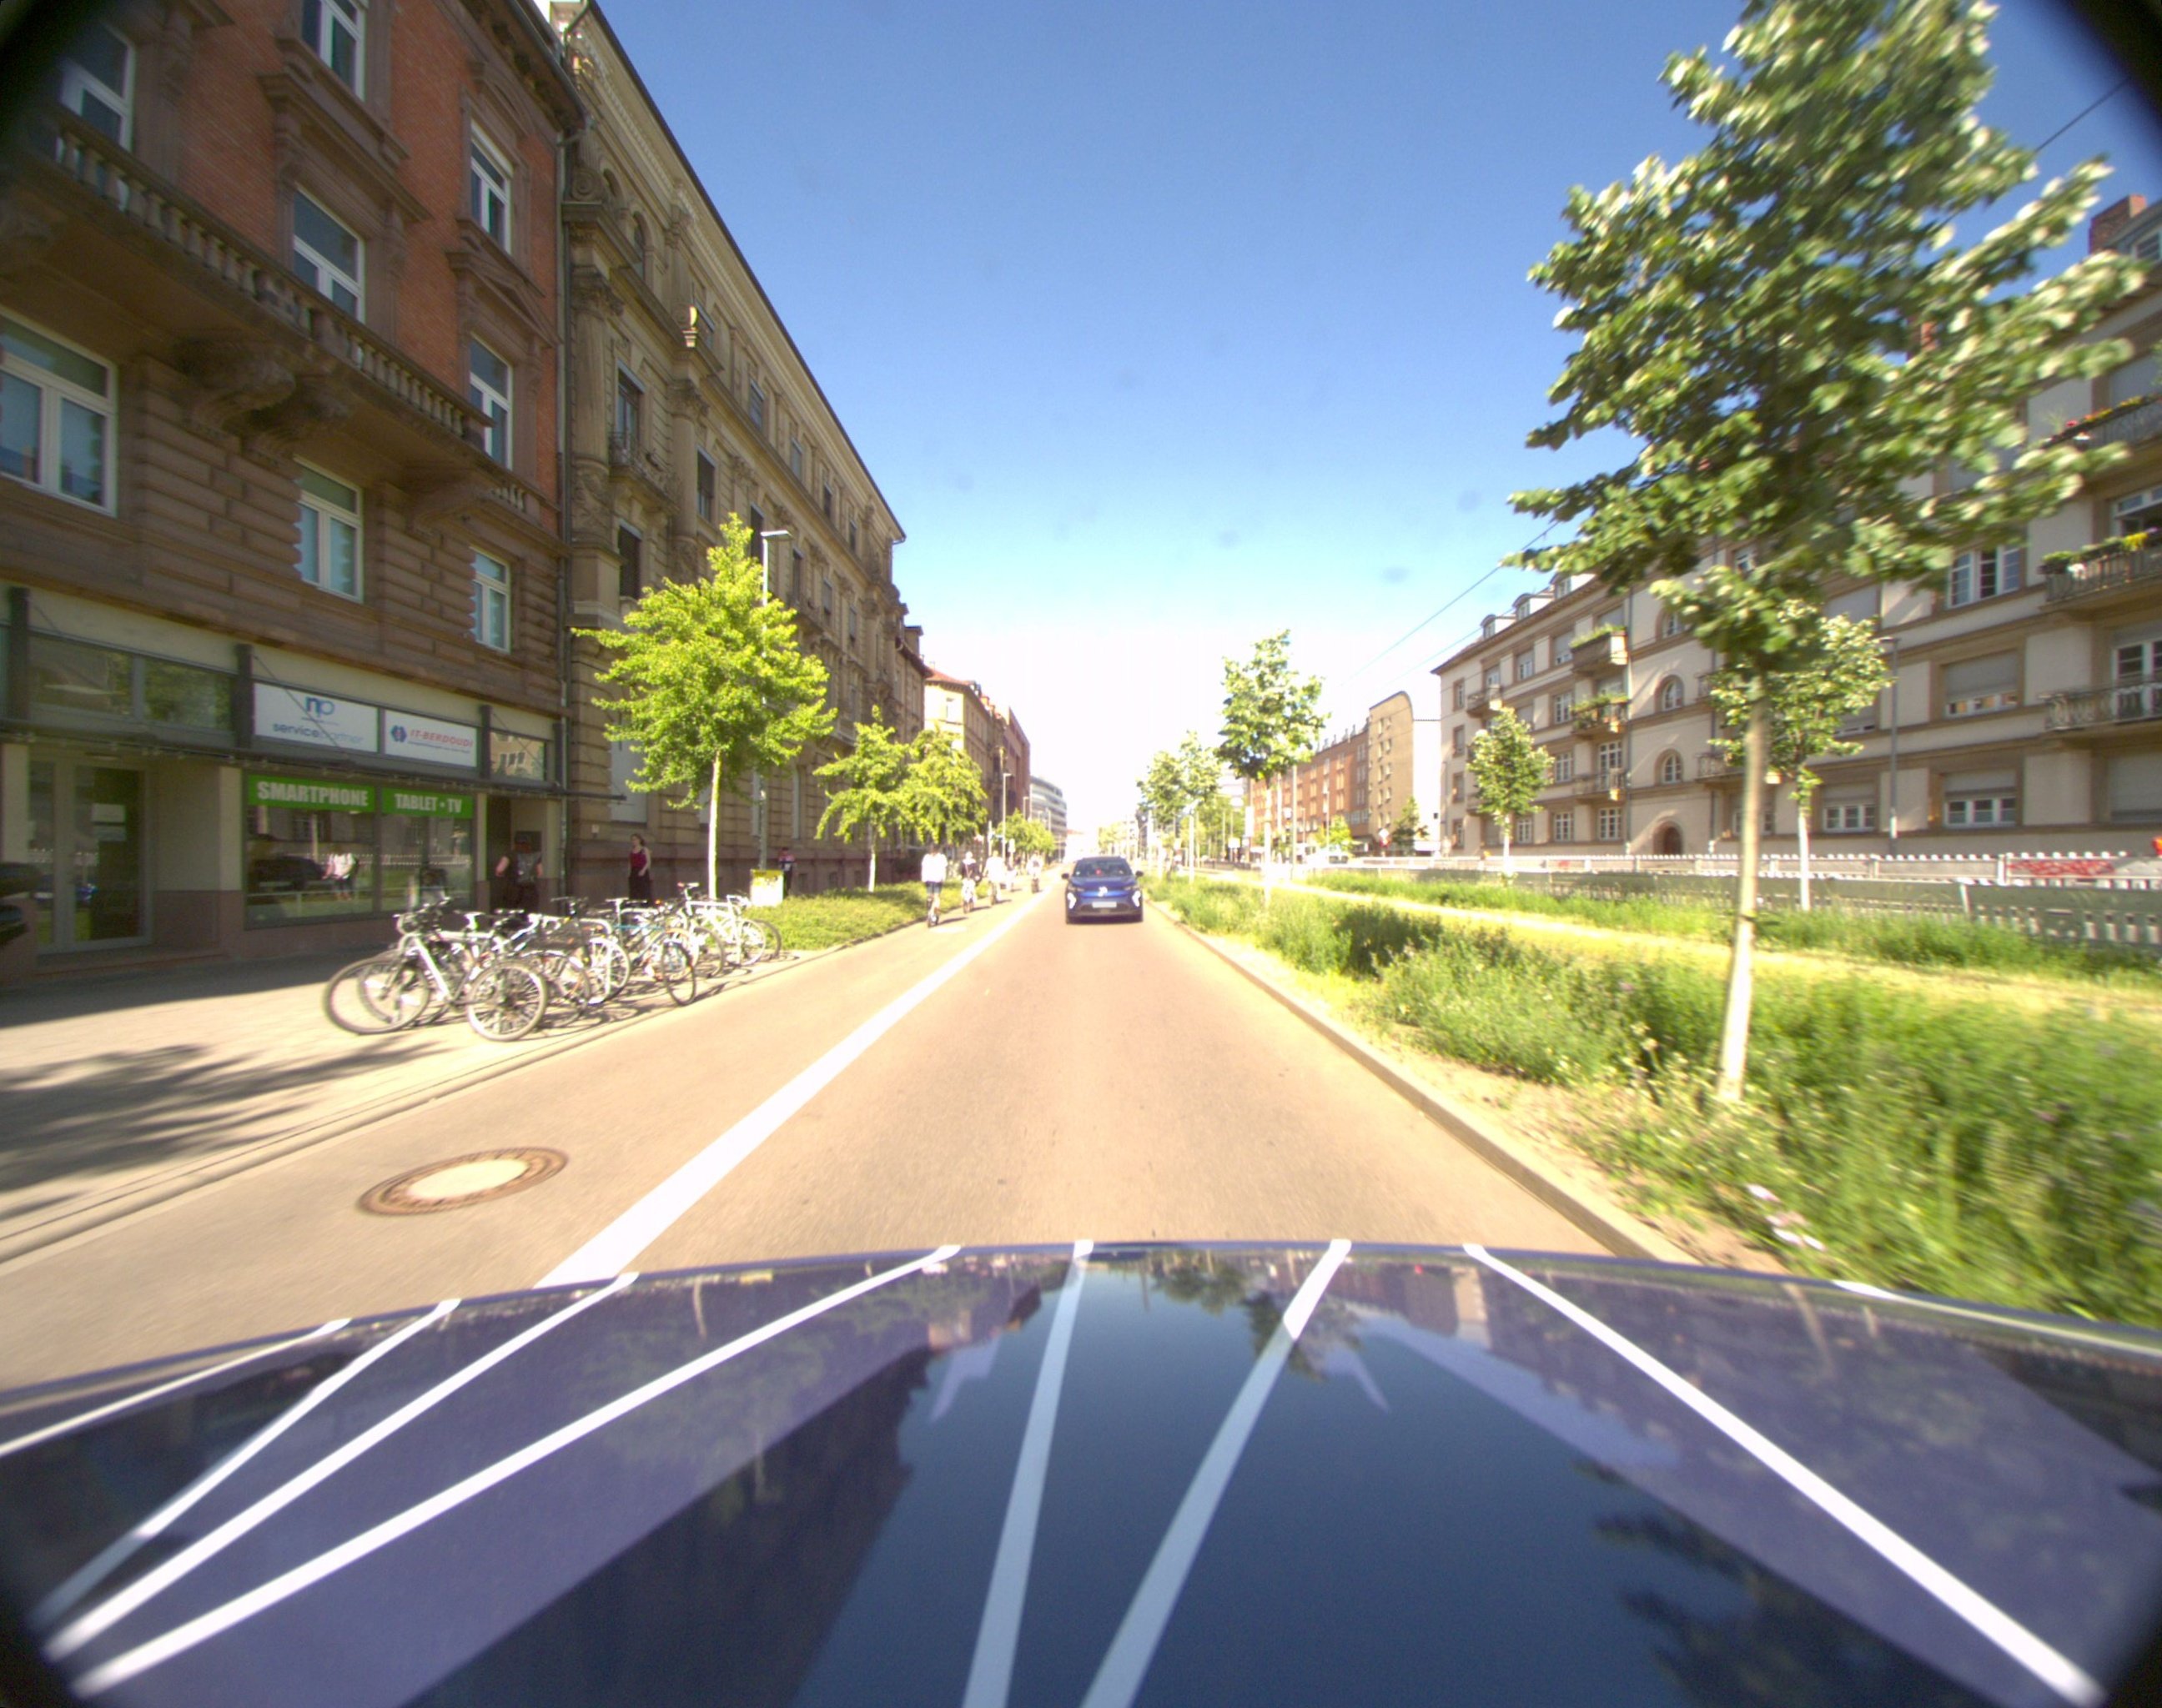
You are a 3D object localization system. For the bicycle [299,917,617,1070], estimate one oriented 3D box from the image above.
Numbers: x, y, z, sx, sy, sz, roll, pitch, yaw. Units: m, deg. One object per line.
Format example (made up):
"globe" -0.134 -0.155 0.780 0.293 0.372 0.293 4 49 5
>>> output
"bicycle" -5.197 1.164 6.437 2.049 1.100 0.610 3 0 -5

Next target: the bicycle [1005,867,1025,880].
"bicycle" -6.030 1.761 69.677 1.678 1.055 1.134 4 0 -1

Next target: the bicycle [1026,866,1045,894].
"bicycle" -2.033 1.159 34.301 0.725 1.187 1.952 -1 0 0

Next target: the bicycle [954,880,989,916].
"bicycle" -3.304 1.308 23.083 0.725 1.000 1.953 -1 0 1

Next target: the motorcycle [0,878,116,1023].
"motorcycle" -10.168 0.885 6.154 0.868 1.259 2.981 2 0 0

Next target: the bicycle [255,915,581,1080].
"bicycle" -5.193 1.122 6.029 1.980 1.117 0.481 4 -1 -5

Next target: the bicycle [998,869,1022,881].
"bicycle" -6.028 1.786 64.805 1.905 0.906 0.592 3 1 9

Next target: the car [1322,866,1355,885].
"car" 24.493 2.033 72.348 1.699 1.630 3.999 -1 0 -1

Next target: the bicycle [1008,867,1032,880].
"bicycle" -5.710 1.850 71.080 2.062 1.036 0.847 4 0 -1

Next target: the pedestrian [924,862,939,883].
"pedestrian" -8.536 1.048 43.408 0.719 1.176 0.881 1 0 0

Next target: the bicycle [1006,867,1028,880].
"bicycle" -5.643 1.753 67.019 1.876 1.042 0.608 3 0 -4

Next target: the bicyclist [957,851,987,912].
"bicyclist" -3.310 0.816 23.082 0.725 1.807 1.091 -1 0 1

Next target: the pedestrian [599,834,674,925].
"pedestrian" -9.835 0.556 16.846 0.891 1.908 1.098 2 0 6

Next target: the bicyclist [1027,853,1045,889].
"bicyclist" -2.041 0.758 34.300 0.725 1.595 0.895 -1 0 0

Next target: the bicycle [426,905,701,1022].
"bicycle" -5.266 1.125 7.866 2.293 1.096 0.486 3 0 -14

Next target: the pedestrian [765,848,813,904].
"pedestrian" -9.220 0.683 24.023 0.972 1.682 1.114 2 0 2

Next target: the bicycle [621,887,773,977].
"bicycle" -5.278 1.066 10.493 1.871 1.172 0.373 1 1 -2

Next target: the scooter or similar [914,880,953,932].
"scooter or similar" -3.470 1.220 17.988 0.647 1.151 1.151 -1 0 3

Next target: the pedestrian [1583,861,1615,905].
"pedestrian" 21.969 1.222 32.210 0.768 1.852 0.871 -1 1 0

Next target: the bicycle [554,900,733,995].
"bicycle" -5.355 1.141 9.376 1.820 1.049 0.571 2 0 -5

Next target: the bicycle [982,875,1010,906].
"bicycle" -2.948 1.266 26.585 0.725 1.000 1.952 -1 0 0

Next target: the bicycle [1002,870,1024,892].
"bicycle" -3.221 1.270 36.047 0.830 1.000 1.952 -1 0 0

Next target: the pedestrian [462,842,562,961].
"pedestrian" -8.756 0.713 11.736 0.850 1.725 0.901 4 0 -13

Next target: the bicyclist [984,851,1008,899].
"bicyclist" -2.946 0.714 26.510 0.700 1.647 0.977 -1 0 1

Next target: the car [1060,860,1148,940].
"car" 0.498 0.971 17.813 1.758 1.576 4.421 -2 -1 0

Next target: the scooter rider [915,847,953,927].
"scooter rider" -3.469 0.765 17.943 0.662 1.855 0.898 -1 0 3

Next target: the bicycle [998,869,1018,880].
"bicycle" -6.279 1.748 65.438 1.717 0.920 0.497 1 0 0

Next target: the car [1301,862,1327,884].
"car" 25.560 2.031 83.574 1.997 2.283 5.192 0 0 8

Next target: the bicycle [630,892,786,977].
"bicycle" -5.293 1.135 10.848 1.897 1.102 0.518 2 0 -4

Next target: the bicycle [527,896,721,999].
"bicycle" -5.402 1.103 9.032 1.982 1.102 0.435 2 1 -2

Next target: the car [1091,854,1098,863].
"car" 3.666 1.322 210.510 1.758 2.471 4.610 0 0 1

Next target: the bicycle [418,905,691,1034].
"bicycle" -5.132 1.146 7.520 2.154 1.148 0.429 4 0 -13

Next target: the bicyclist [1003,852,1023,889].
"bicyclist" -3.226 0.762 36.054 0.854 1.716 0.989 -1 0 0
